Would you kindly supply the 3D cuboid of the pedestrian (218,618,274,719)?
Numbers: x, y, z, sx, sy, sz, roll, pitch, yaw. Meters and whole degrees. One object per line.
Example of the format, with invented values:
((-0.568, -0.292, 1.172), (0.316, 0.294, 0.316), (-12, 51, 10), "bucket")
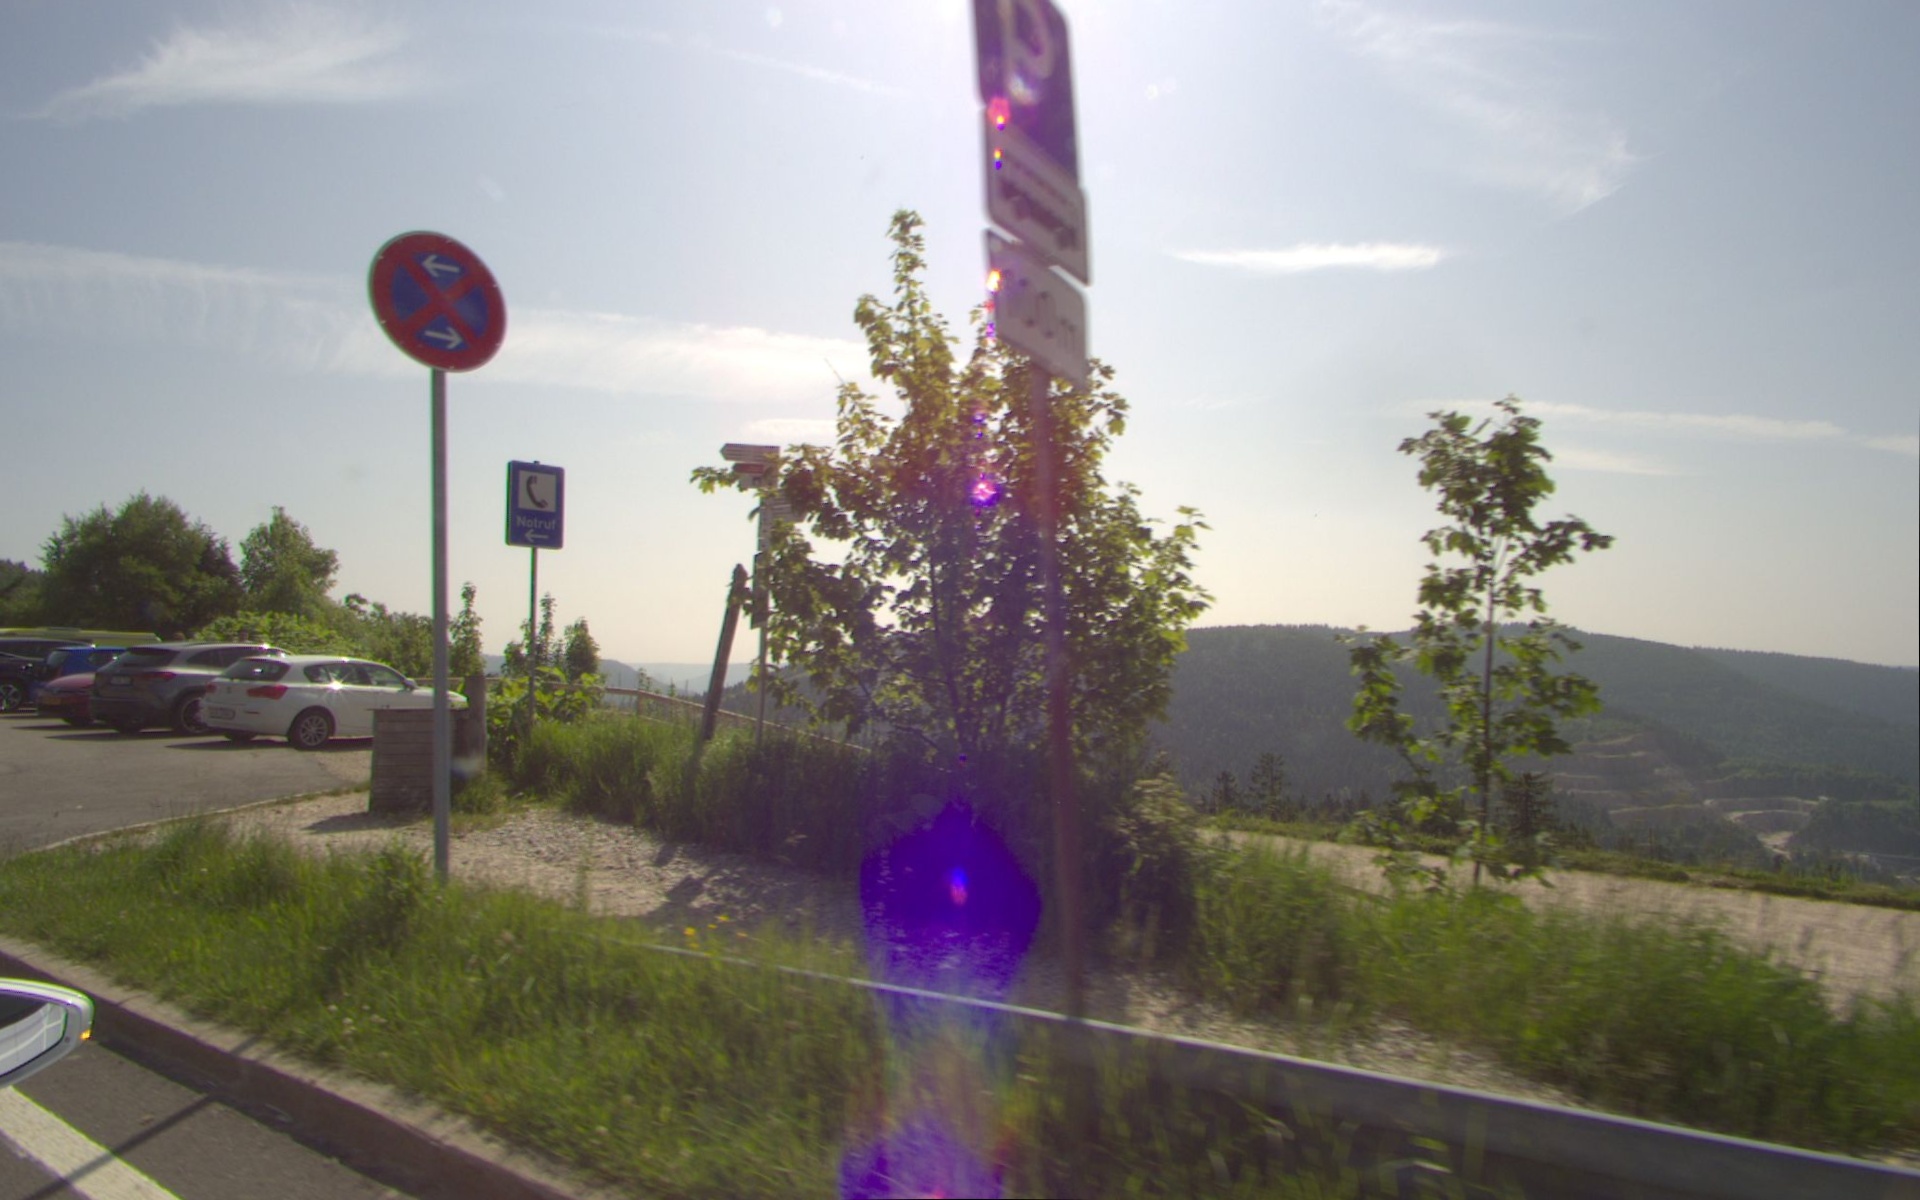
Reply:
((-13.969, 1.347, 19.591), (0.670, 1.922, 0.607), (-2, -5, 36), "pedestrian")

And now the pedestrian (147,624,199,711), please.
((-16.181, 1.388, 20.603), (0.557, 1.745, 0.505), (0, -5, 17), "pedestrian")

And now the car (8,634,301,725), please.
((-15.354, 1.544, 19.376), (1.810, 1.527, 3.997), (1, -5, 20), "car")

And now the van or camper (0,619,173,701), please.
((-24.947, 1.649, 27.284), (1.856, 2.037, 5.087), (-1, -6, 33), "van or camper")

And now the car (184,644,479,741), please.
((-10.353, 1.556, 16.878), (1.628, 1.402, 3.998), (0, -5, 20), "car")

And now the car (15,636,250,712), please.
((-18.119, 1.673, 22.090), (1.623, 1.513, 3.581), (0, -5, 31), "car")

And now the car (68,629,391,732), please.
((-13.008, 1.478, 18.231), (1.874, 1.587, 4.409), (0, -5, 19), "car")

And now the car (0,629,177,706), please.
((-20.670, 1.544, 22.804), (1.885, 1.632, 3.993), (-1, -5, 24), "car")

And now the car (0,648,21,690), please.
((-40.074, 2.699, 39.757), (1.828, 1.714, 4.232), (2, -5, -7), "car")
